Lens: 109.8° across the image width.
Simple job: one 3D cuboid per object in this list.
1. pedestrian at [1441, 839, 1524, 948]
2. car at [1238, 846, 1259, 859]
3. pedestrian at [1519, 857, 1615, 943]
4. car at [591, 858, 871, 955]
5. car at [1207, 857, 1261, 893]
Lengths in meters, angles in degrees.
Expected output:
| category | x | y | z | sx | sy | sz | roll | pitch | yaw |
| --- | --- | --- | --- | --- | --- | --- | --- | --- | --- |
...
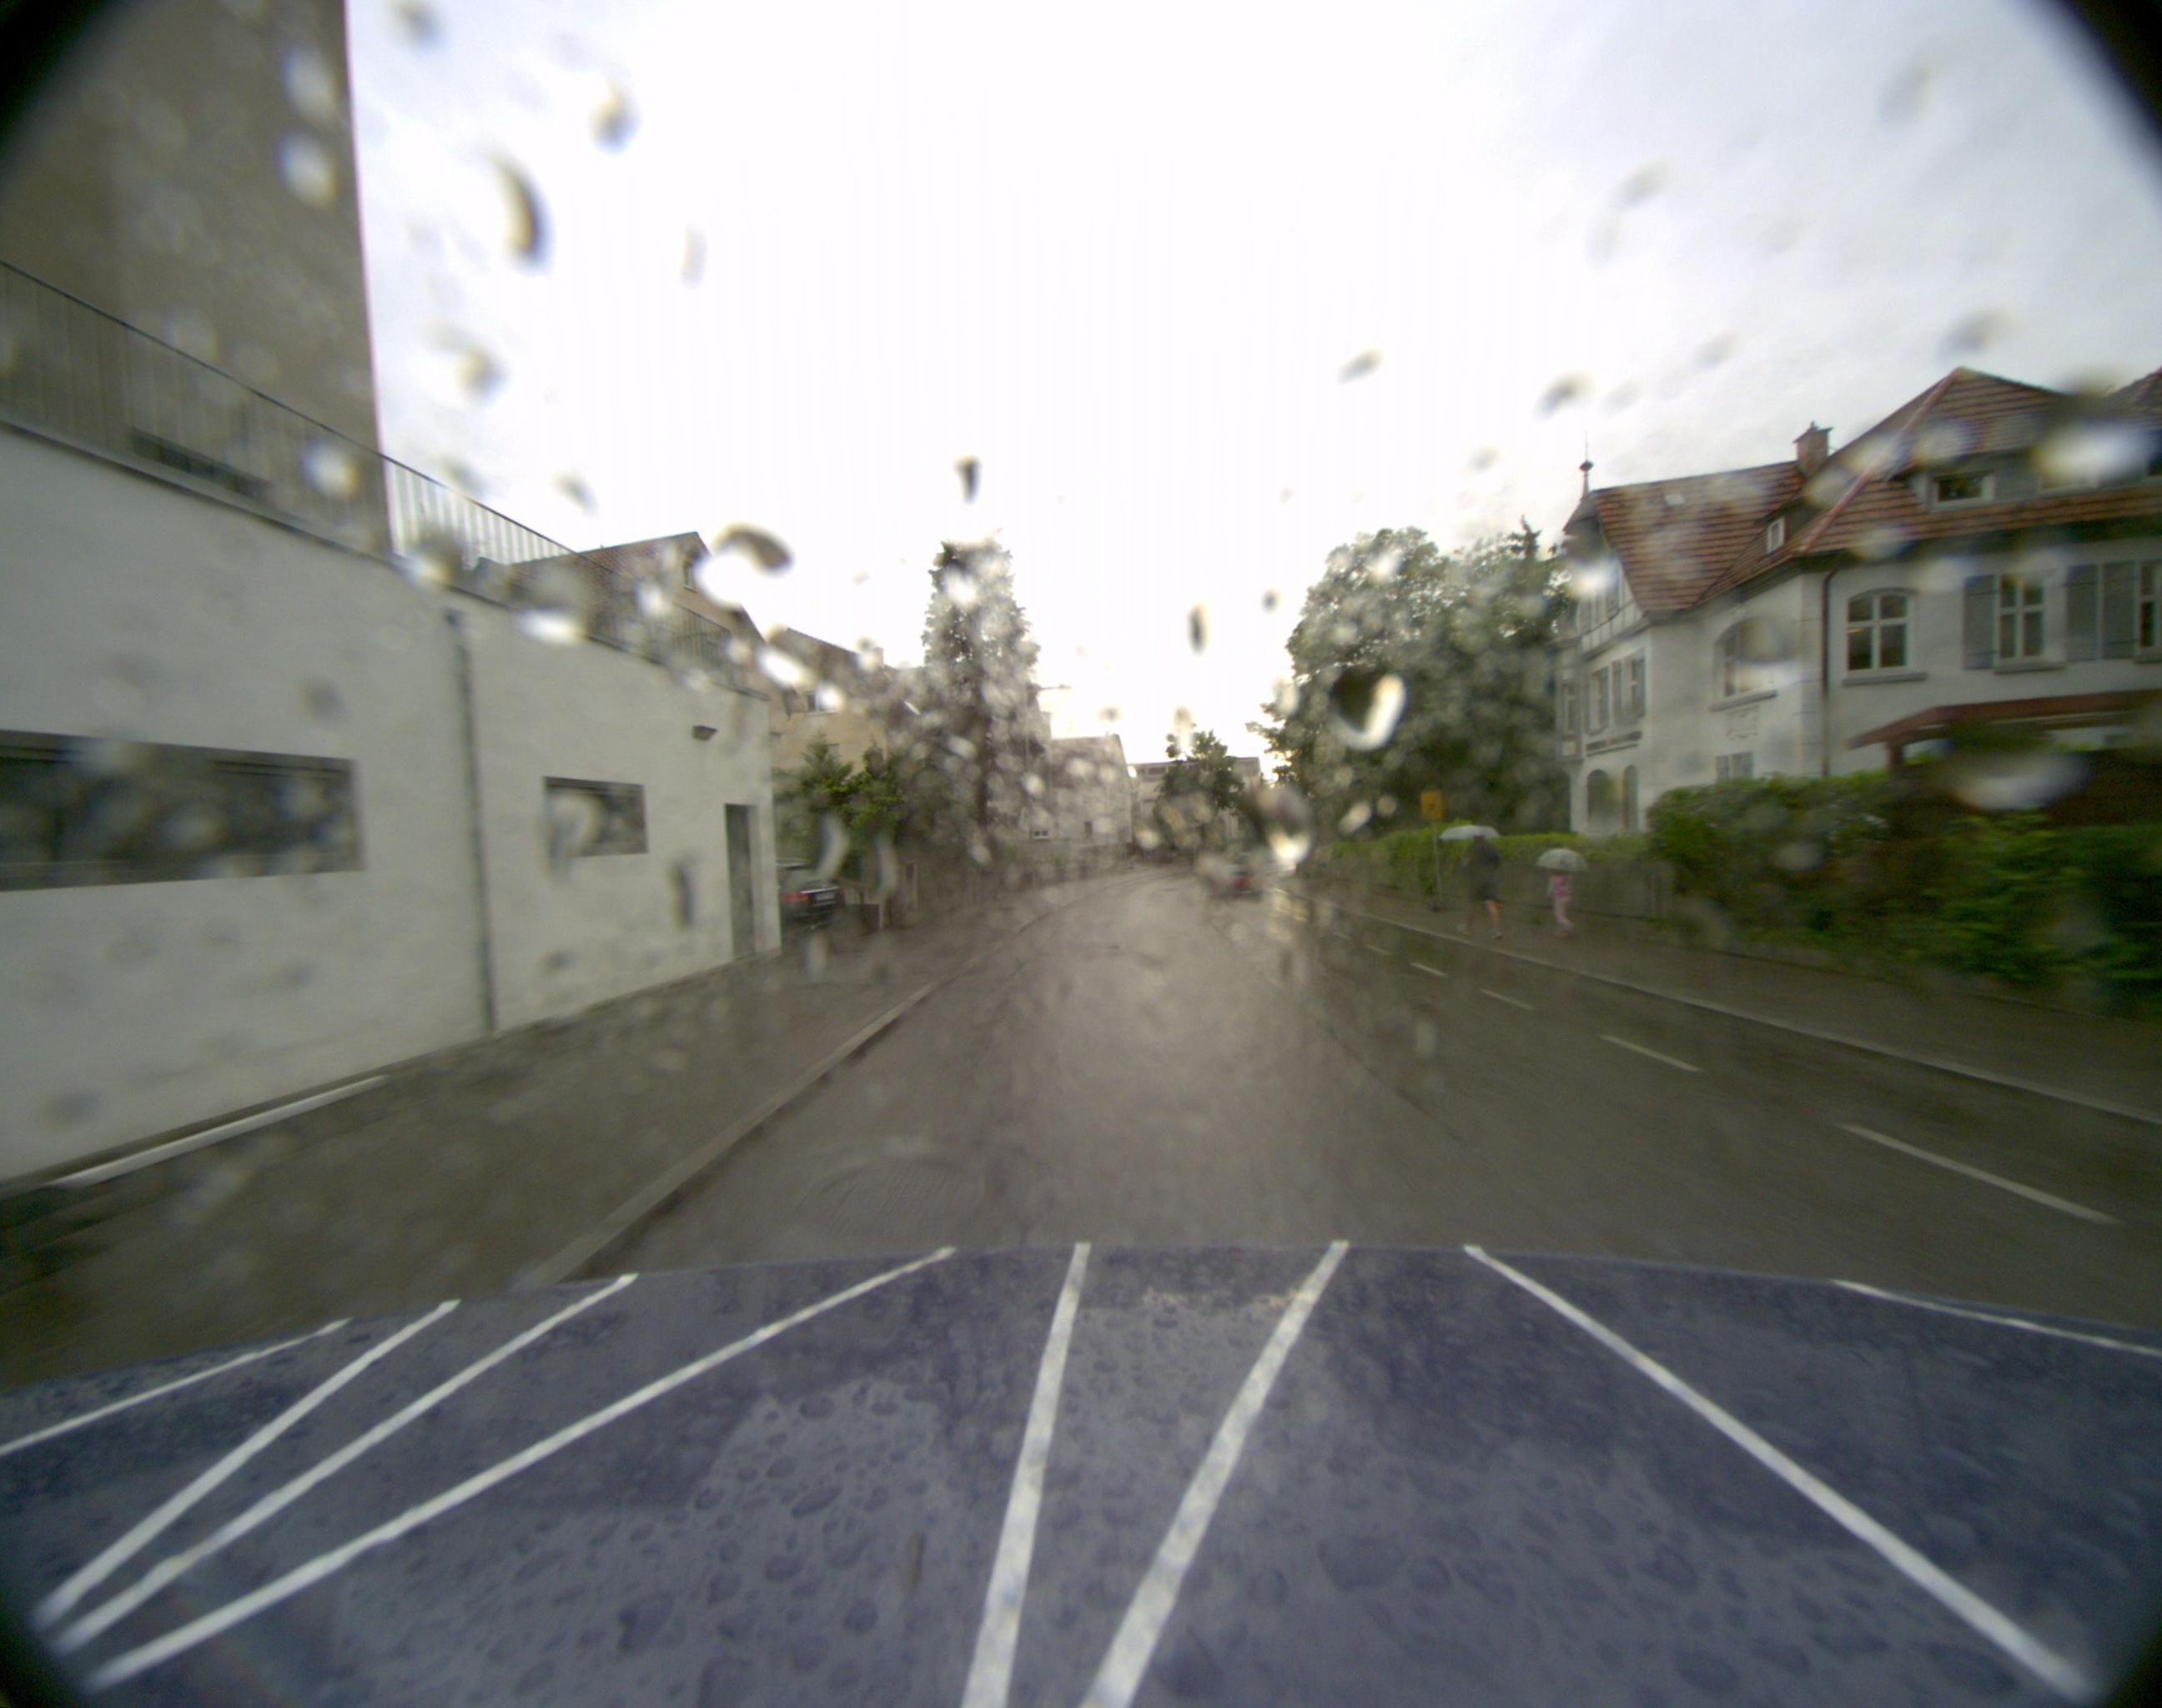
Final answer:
| category | x | y | z | sx | sy | sz | roll | pitch | yaw |
| --- | --- | --- | --- | --- | --- | --- | --- | --- | --- |
| pedestrian | 6.420 | 0.607 | 12.209 | 0.757 | 1.634 | 1.040 | -4 | 1 | 5 |
| car | 21.585 | -0.154 | 97.786 | 1.782 | 1.561 | 4.735 | -3 | -1 | 21 |
| pedestrian | 7.275 | 0.669 | 11.426 | 0.757 | 1.173 | 1.040 | -4 | 0 | 5 |
| car | -5.977 | 0.856 | 13.149 | 3.992 | 1.449 | 2.002 | -1 | 1 | 15 |
| car | 5.518 | 0.736 | 27.706 | 1.682 | 1.140 | 4.002 | -1 | 0 | 8 |
